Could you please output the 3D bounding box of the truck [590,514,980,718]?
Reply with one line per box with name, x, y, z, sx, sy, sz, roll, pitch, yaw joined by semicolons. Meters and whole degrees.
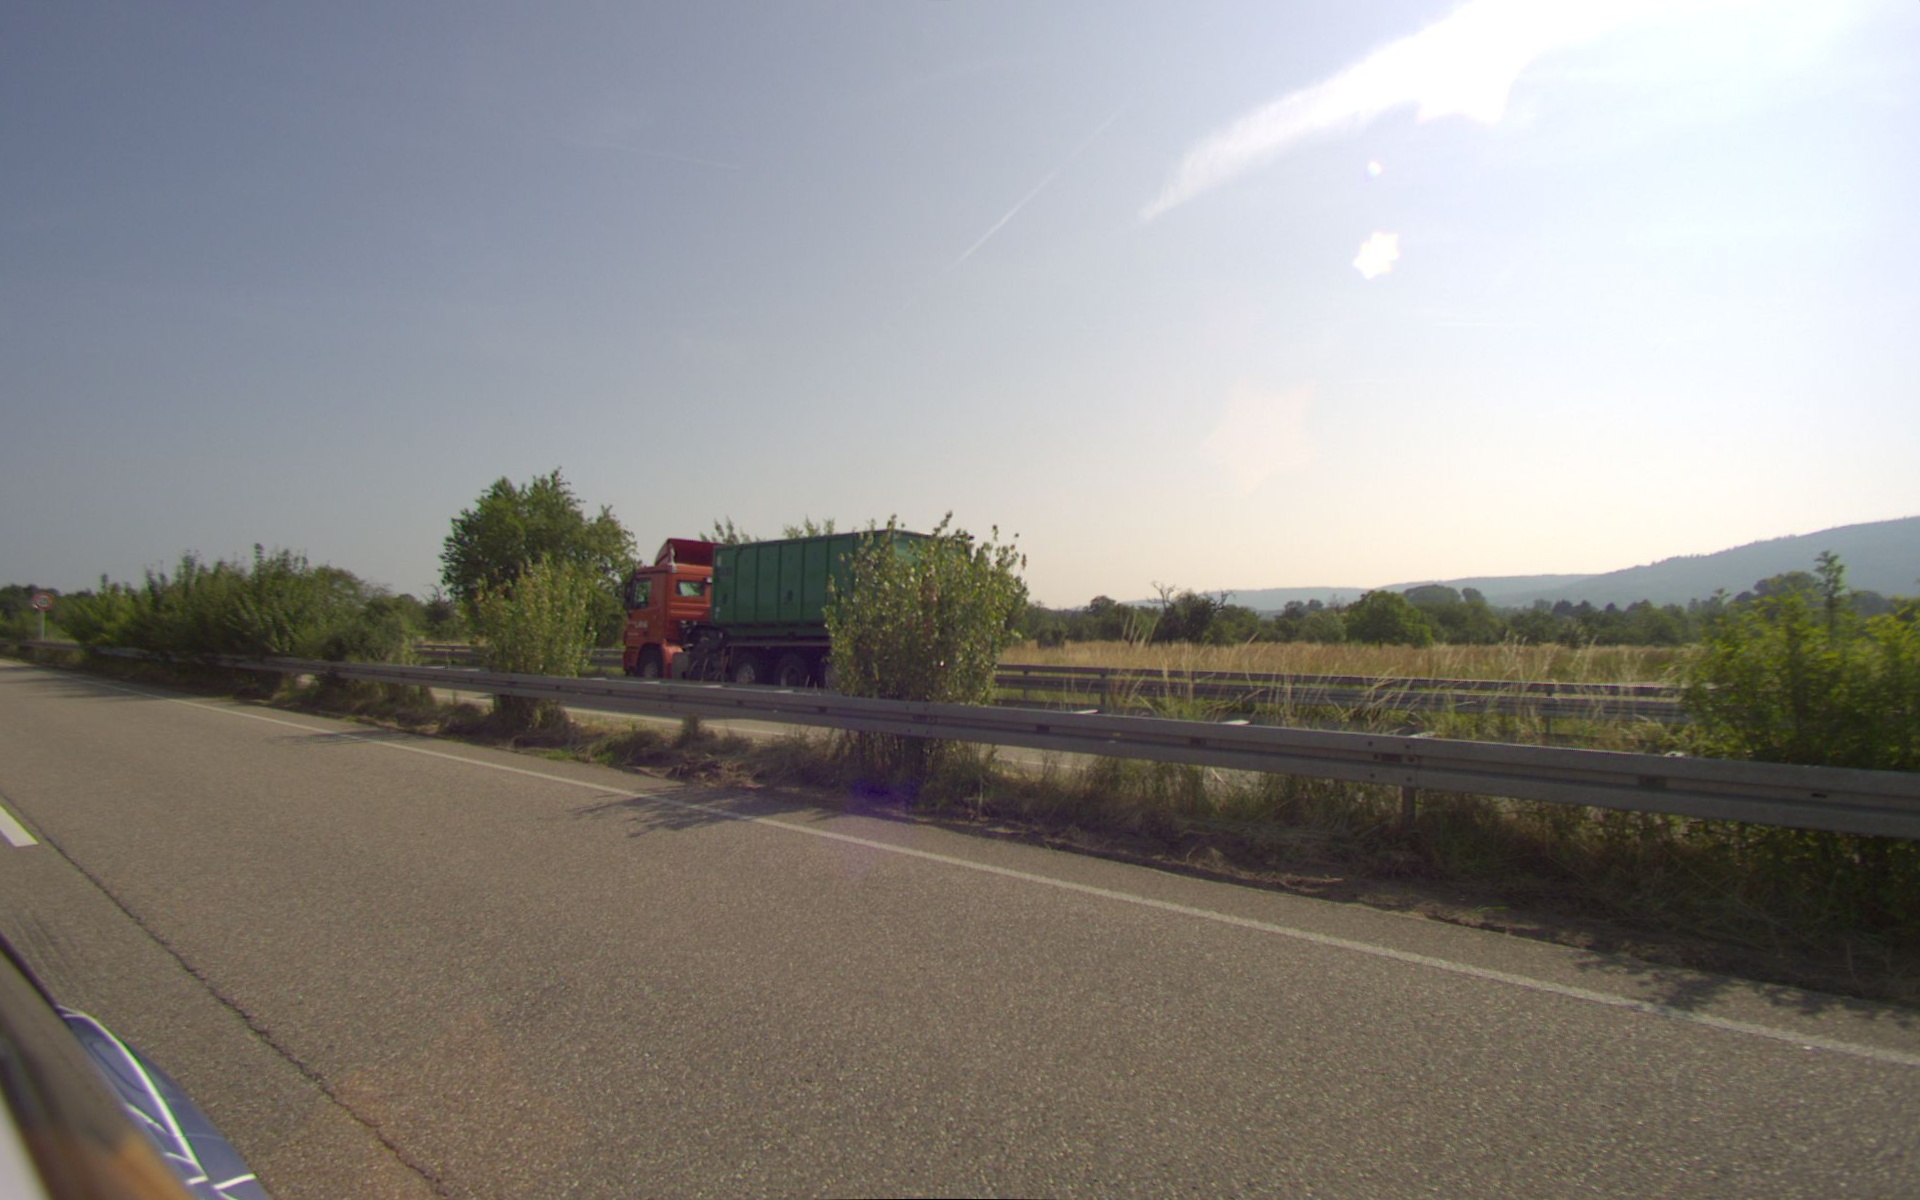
truck;-4.342;0.380;22.357;10.381;3.616;2.575;-1;-2;42
